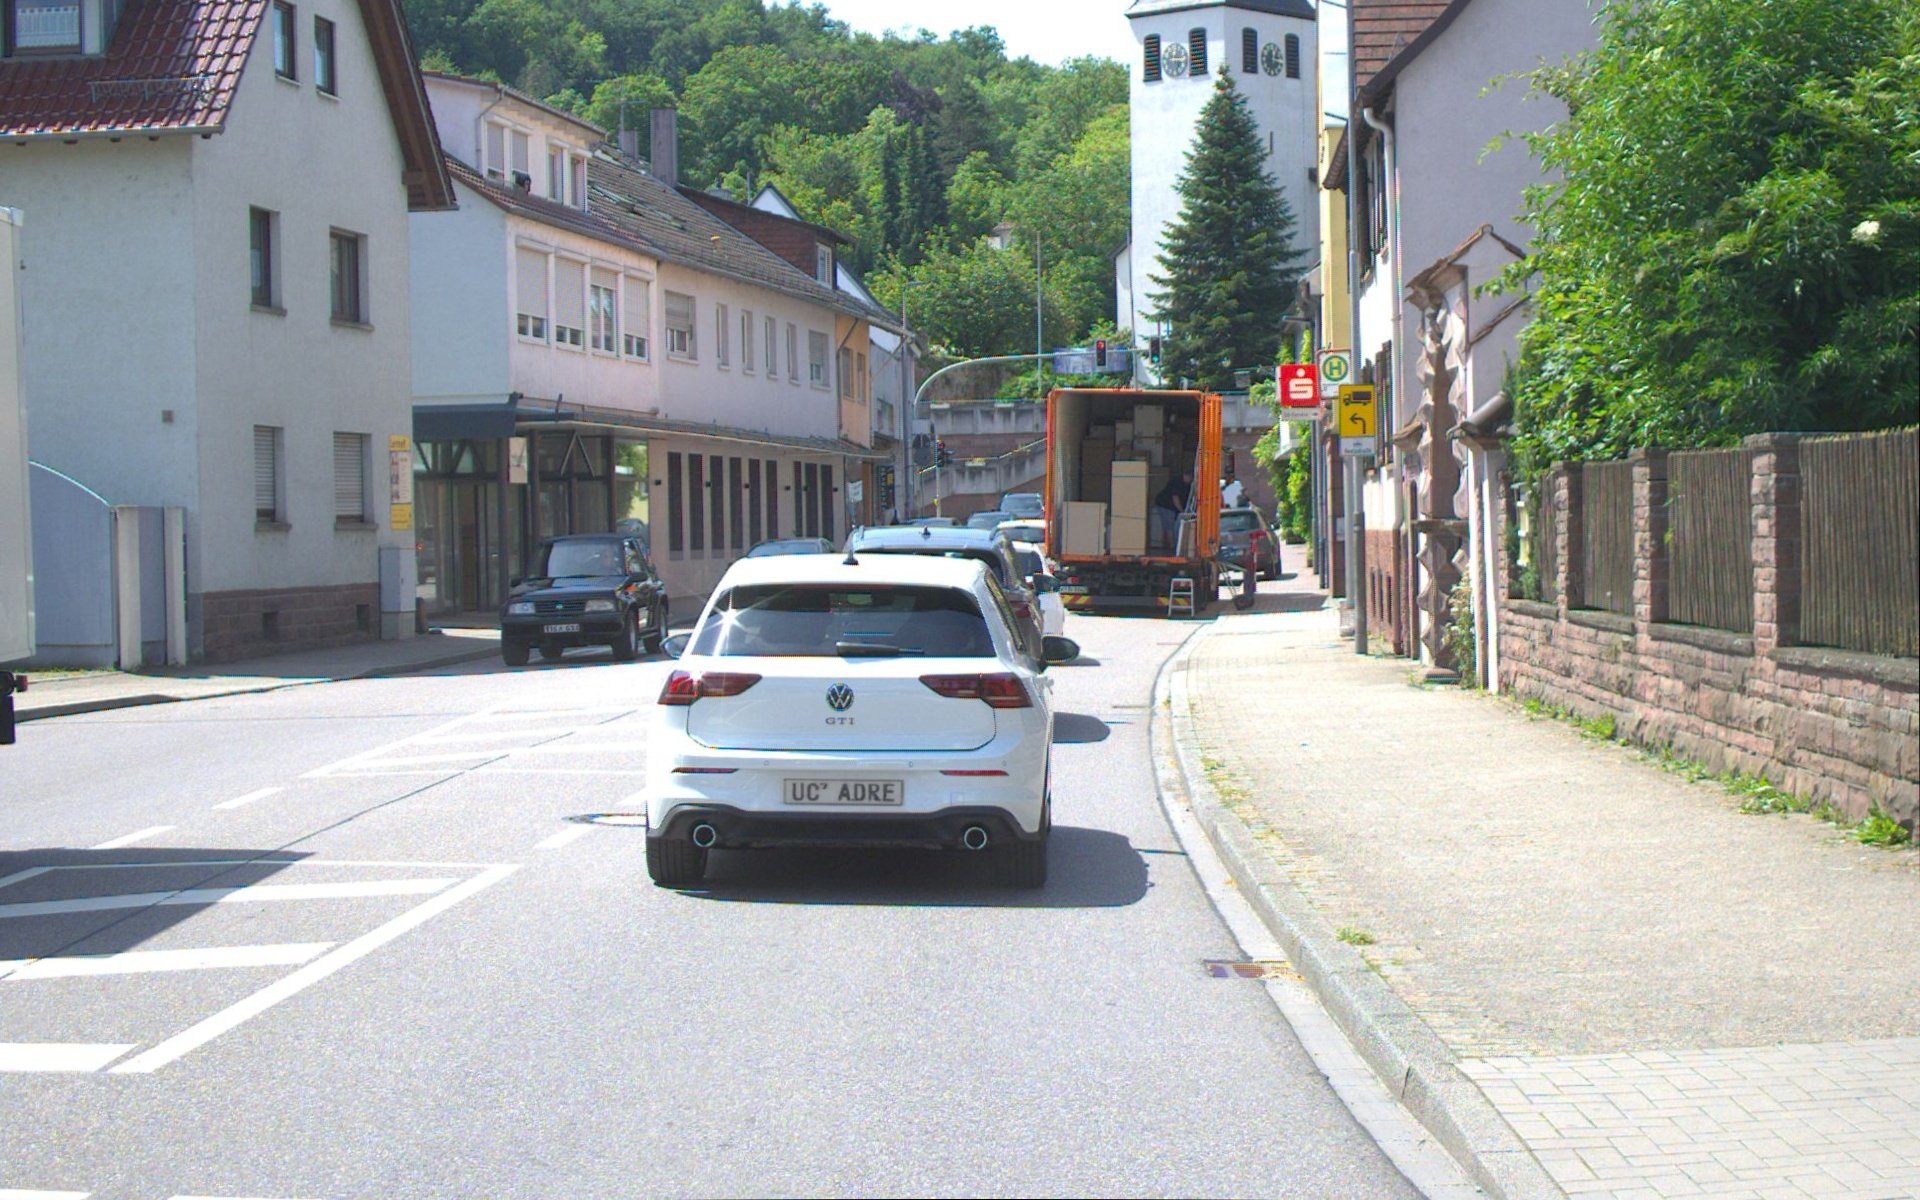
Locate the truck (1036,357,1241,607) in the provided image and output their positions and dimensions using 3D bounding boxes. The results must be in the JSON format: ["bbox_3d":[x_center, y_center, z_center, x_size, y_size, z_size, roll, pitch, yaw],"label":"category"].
[{"bbox_3d":[3.363,-2.071,63.657,3.367,4.155,9.518,-2,1,4],"label":"truck"}]

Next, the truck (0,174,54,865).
[{"bbox_3d":[-5.685,-0.343,13.880,2.502,3.224,6.040,-1,0,-1],"label":"truck"}]

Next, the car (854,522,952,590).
[{"bbox_3d":[-1.324,-1.048,81.568,1.796,1.503,4.133,-2,1,6],"label":"car"}]

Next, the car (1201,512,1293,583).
[{"bbox_3d":[6.547,-1.197,78.769,1.815,1.514,4.000,-2,1,1],"label":"car"}]

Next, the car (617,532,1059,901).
[{"bbox_3d":[-0.456,0.458,16.165,1.815,1.514,4.000,0,1,1],"label":"car"}]

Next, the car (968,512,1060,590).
[{"bbox_3d":[1.133,-1.006,71.574,1.815,1.514,4.000,-2,1,1],"label":"car"}]

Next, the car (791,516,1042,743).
[{"bbox_3d":[-0.280,0.200,27.602,1.815,1.623,4.000,-2,1,1],"label":"car"}]

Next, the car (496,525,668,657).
[{"bbox_3d":[-4.968,-0.154,45.602,1.739,1.645,3.668,-1,1,2],"label":"car"}]

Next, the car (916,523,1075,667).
[{"bbox_3d":[0.467,-0.081,42.369,1.815,1.623,4.000,-2,1,1],"label":"car"}]

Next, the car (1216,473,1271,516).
[{"bbox_3d":[10.772,-4.010,130.869,1.815,1.514,4.000,-2,1,1],"label":"car"}]

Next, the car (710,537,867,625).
[{"bbox_3d":[-2.996,-0.353,60.947,1.864,1.437,4.215,-2,1,10],"label":"car"}]
